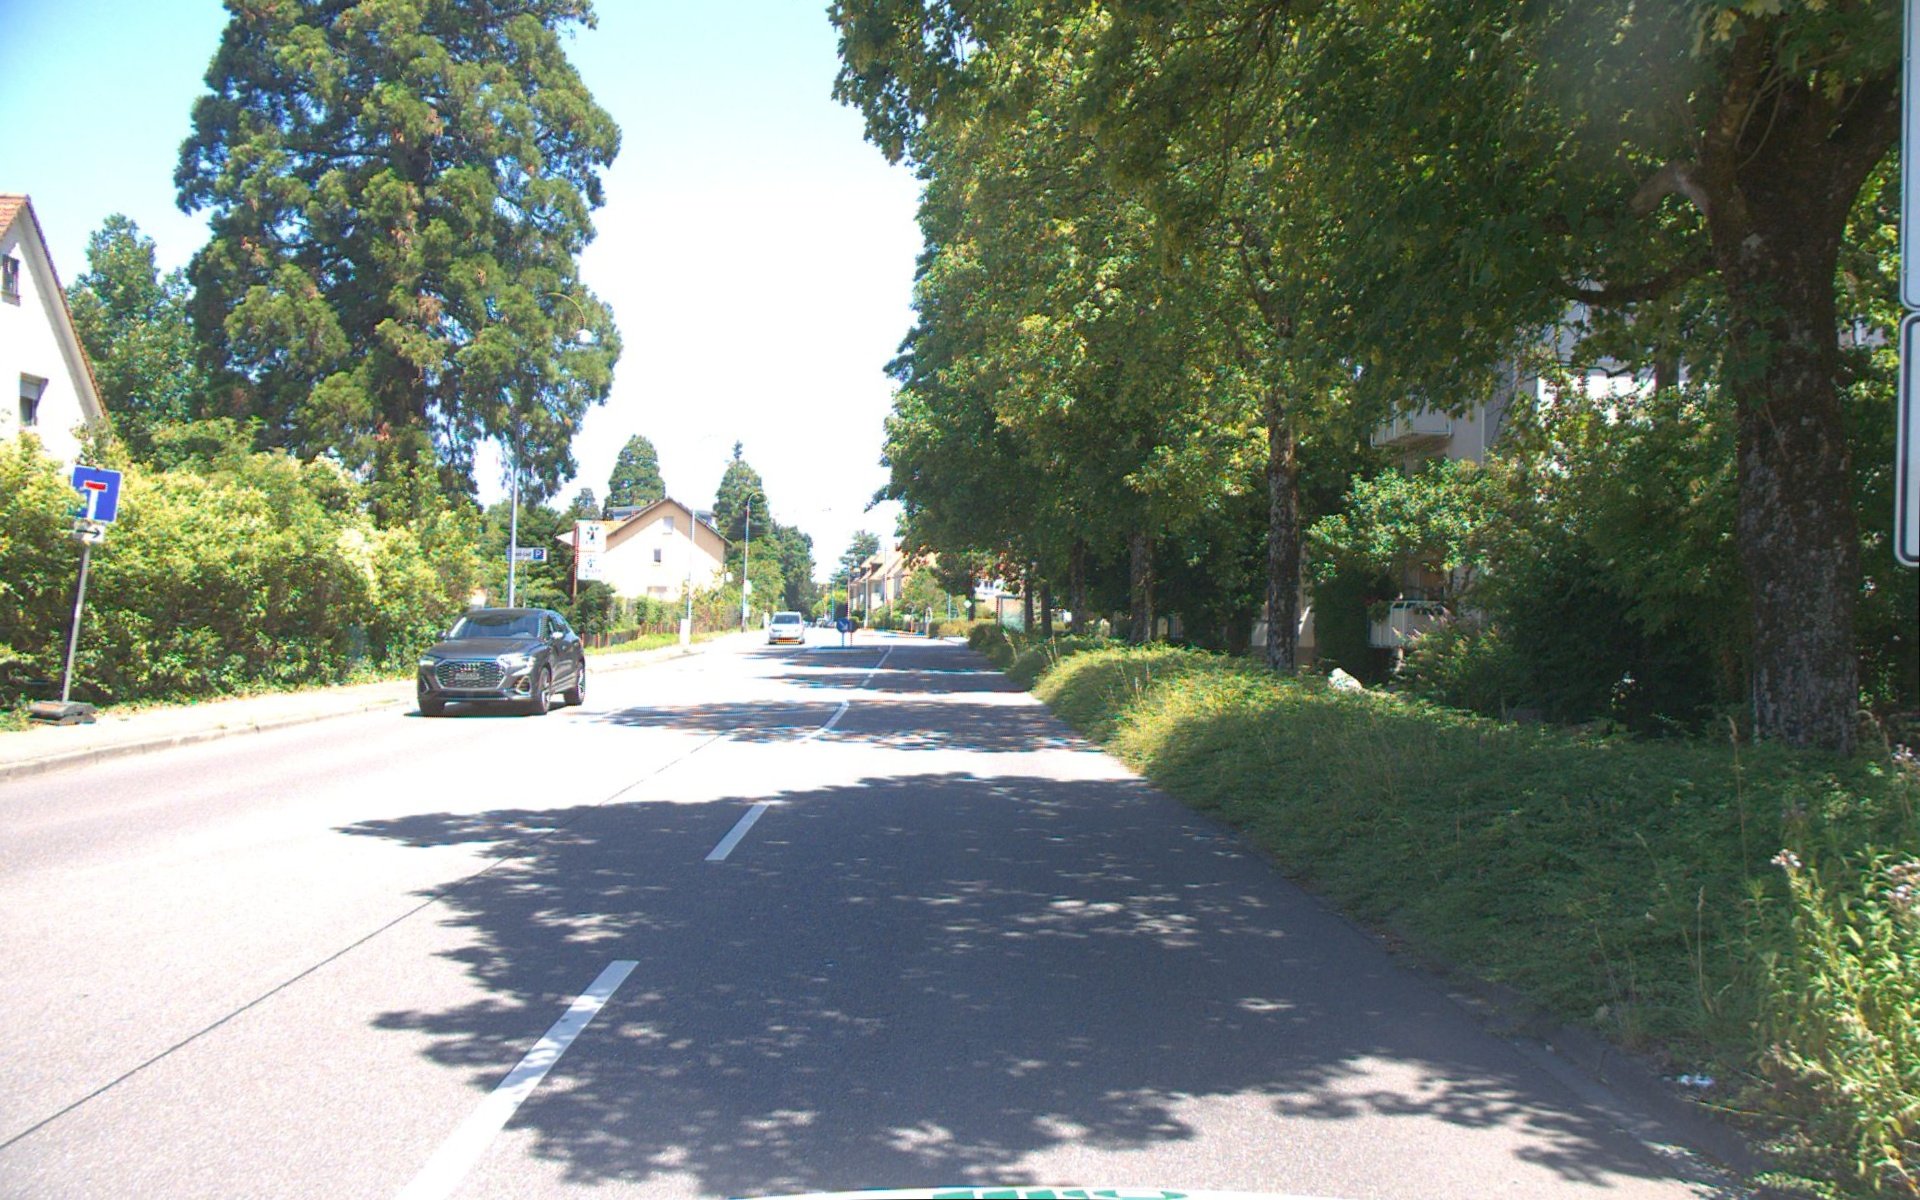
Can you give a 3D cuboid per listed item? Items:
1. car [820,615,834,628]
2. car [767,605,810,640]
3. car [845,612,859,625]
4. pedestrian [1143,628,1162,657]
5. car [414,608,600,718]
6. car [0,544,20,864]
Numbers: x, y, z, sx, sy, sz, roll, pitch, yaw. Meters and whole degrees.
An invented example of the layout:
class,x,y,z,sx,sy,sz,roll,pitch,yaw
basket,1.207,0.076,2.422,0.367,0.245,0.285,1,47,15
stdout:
class,x,y,z,sx,sy,sz,roll,pitch,yaw
car,-19.065,3.065,237.342,1.778,1.748,3.999,1,-1,0
car,-8.766,1.148,84.696,1.874,1.719,4.123,1,-1,-2
car,-15.470,2.672,237.453,1.778,1.748,3.999,1,-1,0
pedestrian,7.961,1.770,68.430,0.689,1.180,0.754,1,-1,2
car,-6.952,0.920,25.824,1.757,1.563,4.314,1,-1,-1
car,-6.220,0.605,7.174,1.774,1.793,4.569,0,0,-2
